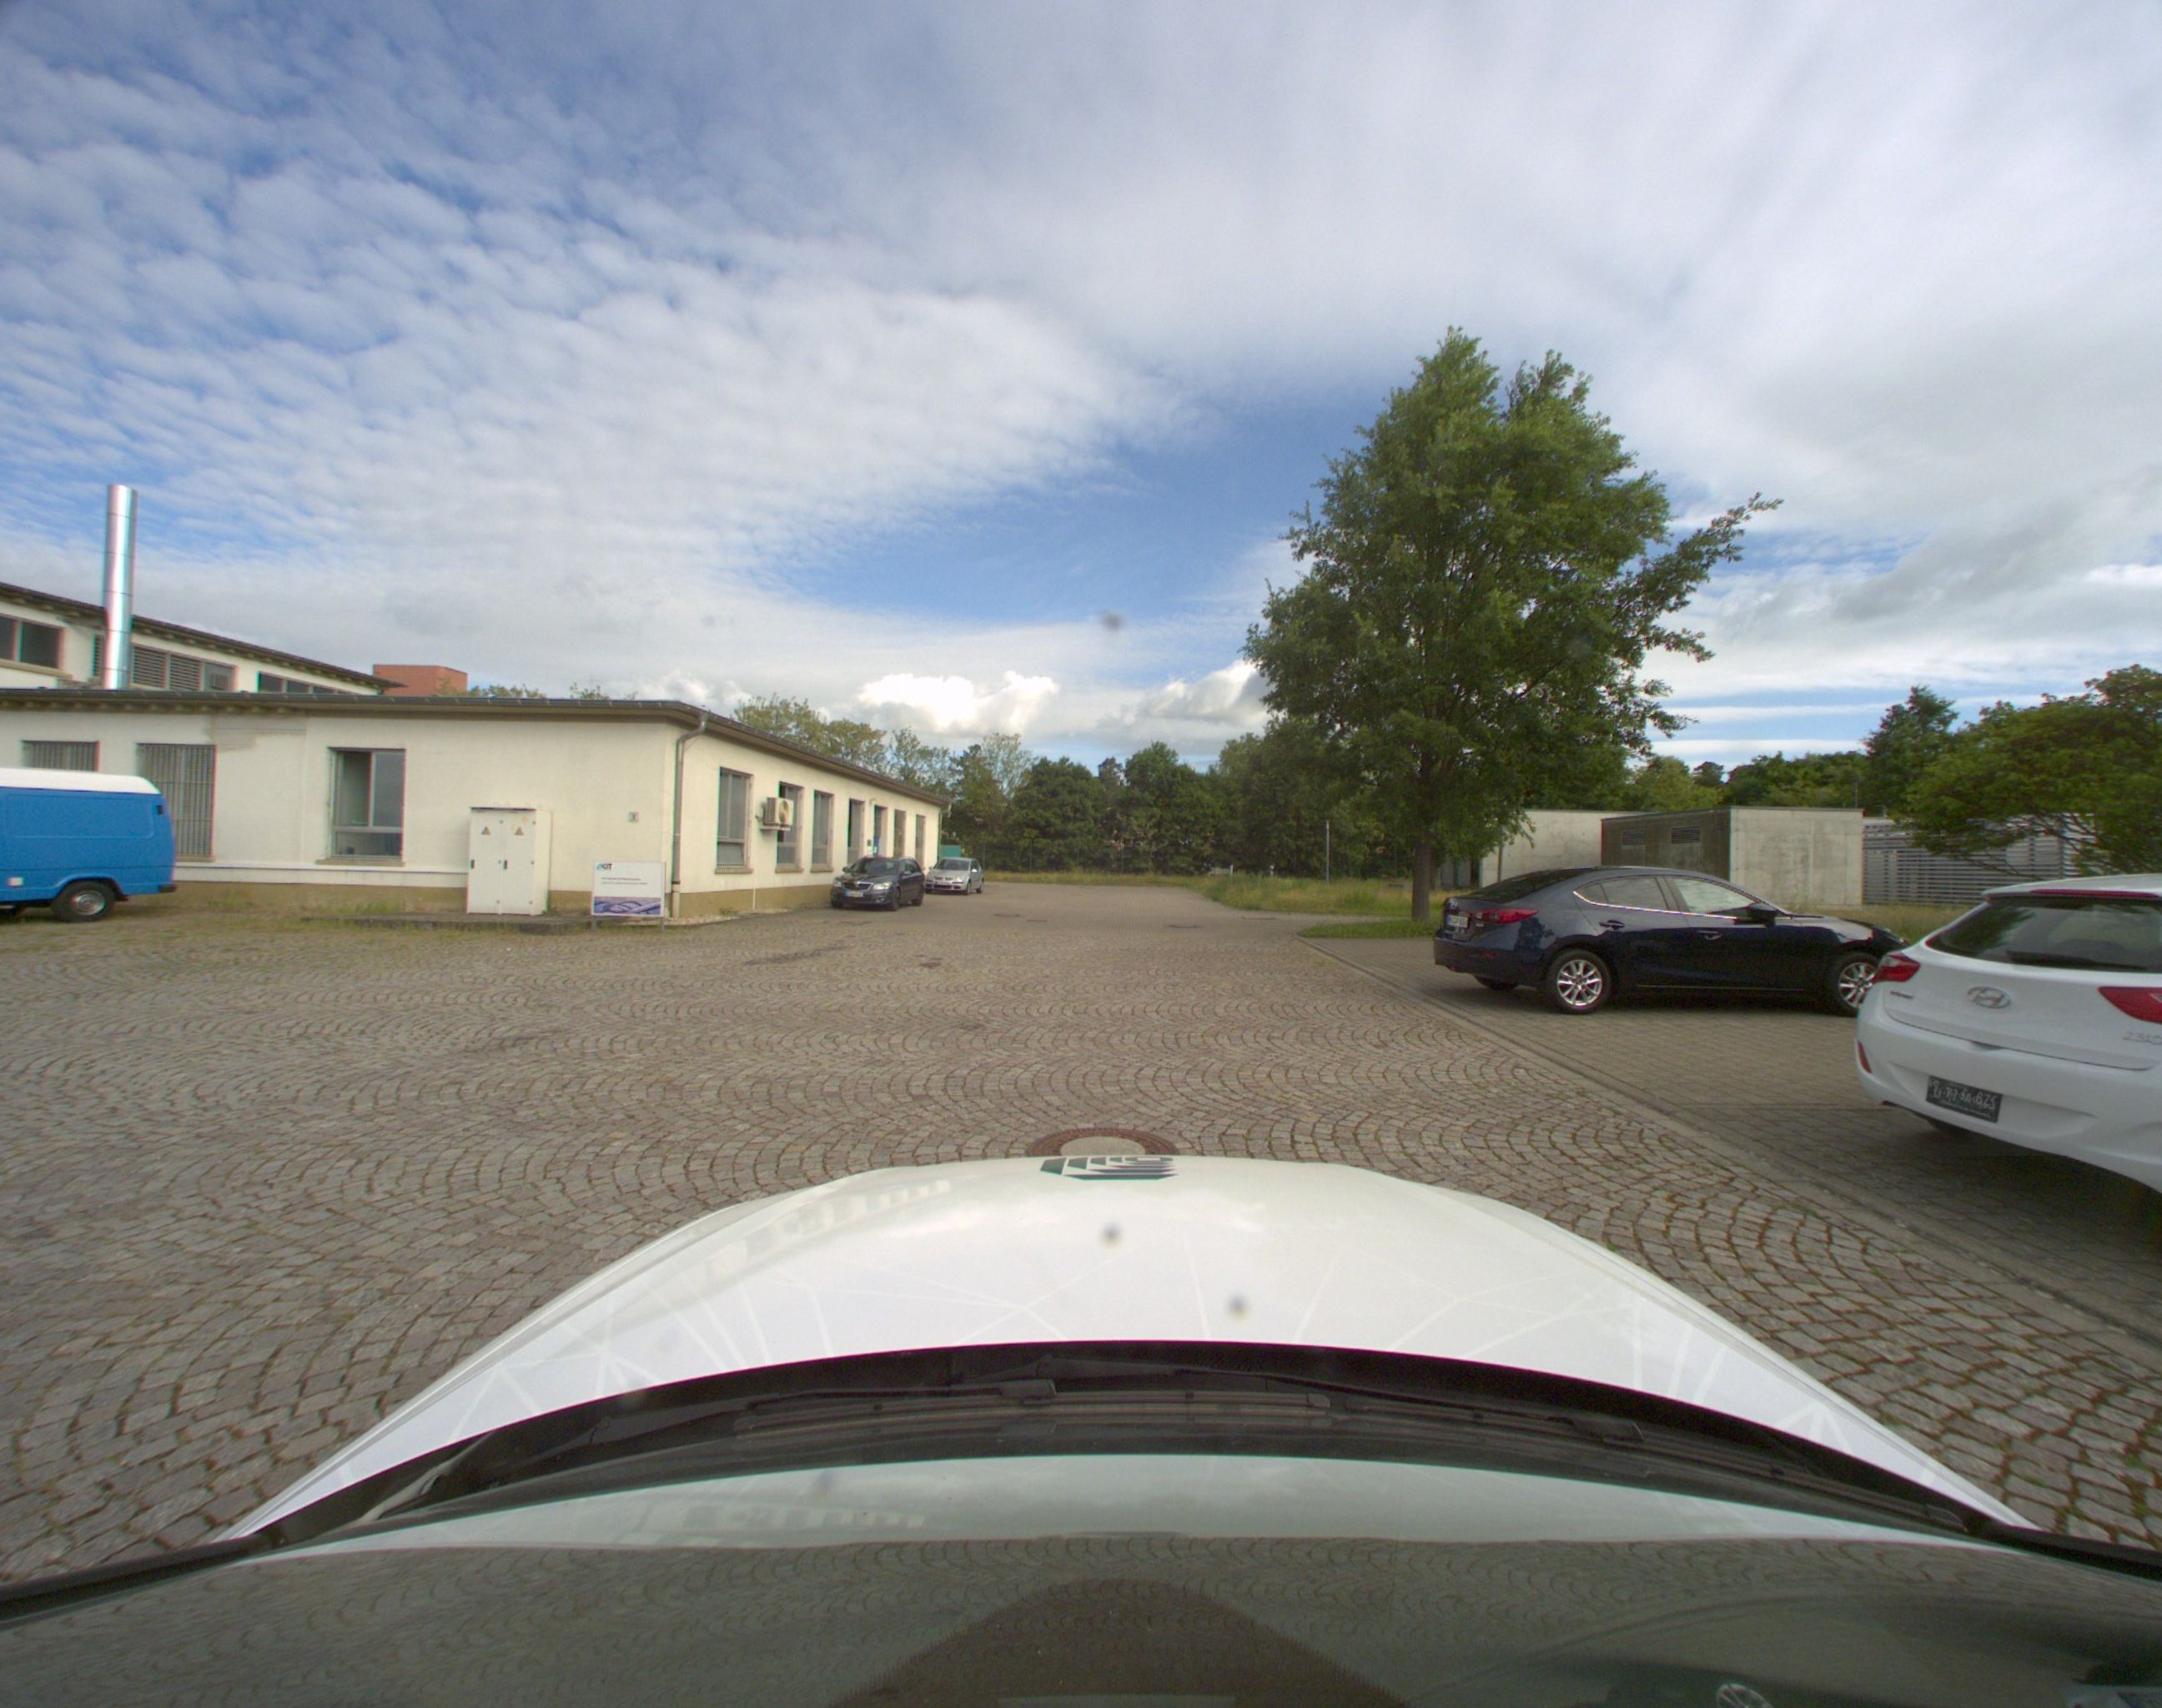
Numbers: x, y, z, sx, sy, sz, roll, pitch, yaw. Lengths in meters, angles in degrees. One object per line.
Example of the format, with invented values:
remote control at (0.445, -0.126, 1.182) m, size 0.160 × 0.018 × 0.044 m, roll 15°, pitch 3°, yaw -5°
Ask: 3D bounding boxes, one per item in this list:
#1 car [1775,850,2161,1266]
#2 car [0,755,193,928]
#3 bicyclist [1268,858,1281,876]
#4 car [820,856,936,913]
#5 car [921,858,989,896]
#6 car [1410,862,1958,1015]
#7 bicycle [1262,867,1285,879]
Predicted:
car at (5.844, 0.751, 3.577) m, size 3.959 × 1.466 × 1.884 m, roll 1°, pitch -1°, yaw 2°
car at (-17.151, -0.200, 11.930) m, size 1.983 × 2.582 × 5.407 m, roll 1°, pitch 0°, yaw 6°
bicyclist at (13.459, 0.910, 56.766) m, size 0.766 × 1.206 × 0.588 m, roll 1°, pitch -1°, yaw 3°
car at (-5.709, 0.819, 23.584) m, size 1.917 × 1.461 × 4.813 m, roll 1°, pitch -1°, yaw 2°
car at (-5.086, 0.911, 33.395) m, size 1.917 × 1.439 × 4.370 m, roll 1°, pitch -1°, yaw 2°
car at (6.156, 0.818, 8.804) m, size 4.445 × 1.447 × 1.946 m, roll 0°, pitch -1°, yaw 2°
bicycle at (13.422, 1.300, 56.758) m, size 1.510 × 0.791 × 0.588 m, roll 1°, pitch -1°, yaw 3°
